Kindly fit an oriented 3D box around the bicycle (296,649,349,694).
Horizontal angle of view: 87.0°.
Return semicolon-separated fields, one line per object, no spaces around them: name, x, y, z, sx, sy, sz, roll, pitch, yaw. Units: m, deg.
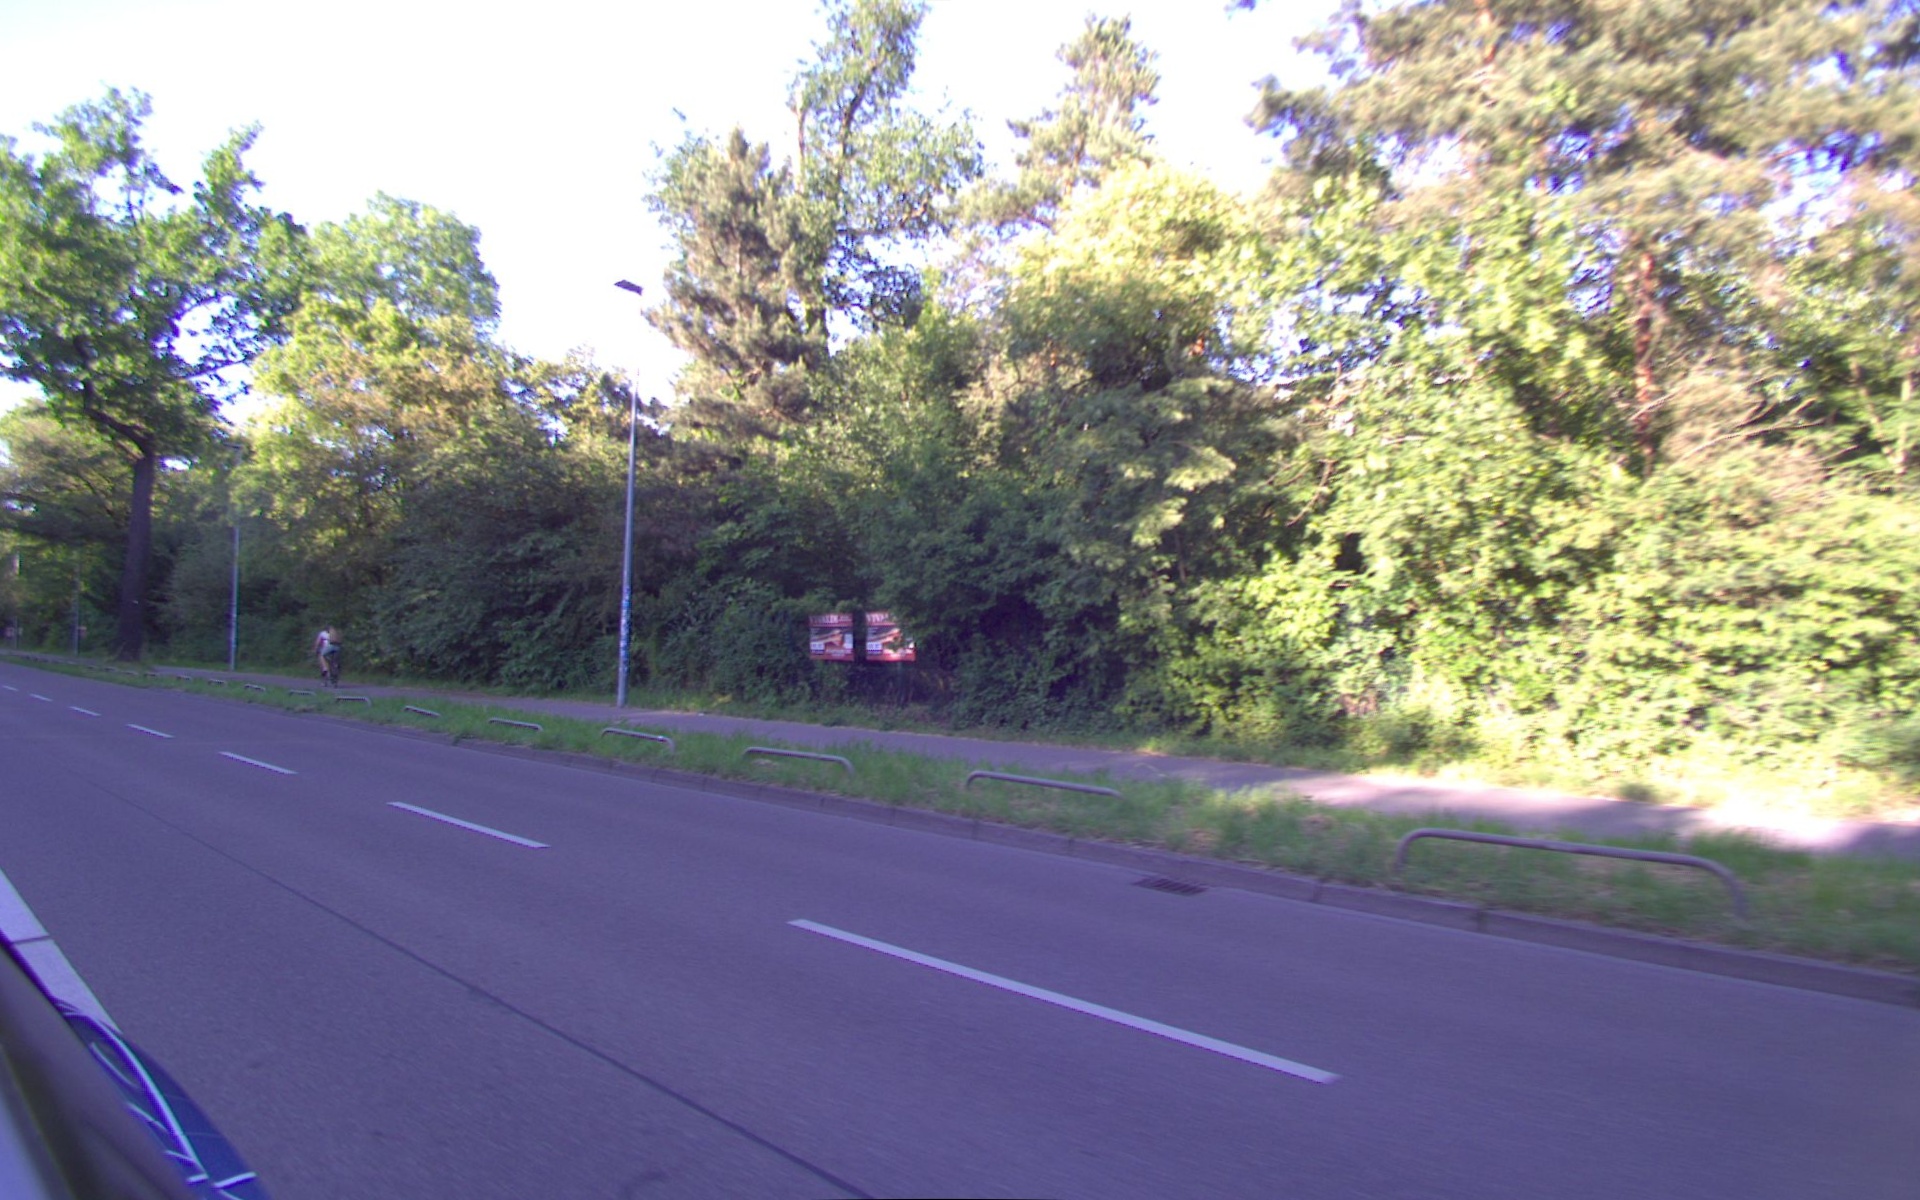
bicycle;-17.922;1.992;28.430;1.992;1.156;0.705;-1;-1;41

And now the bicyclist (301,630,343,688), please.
bicyclist;-17.931;1.650;28.444;1.142;1.570;0.705;-1;-1;41
